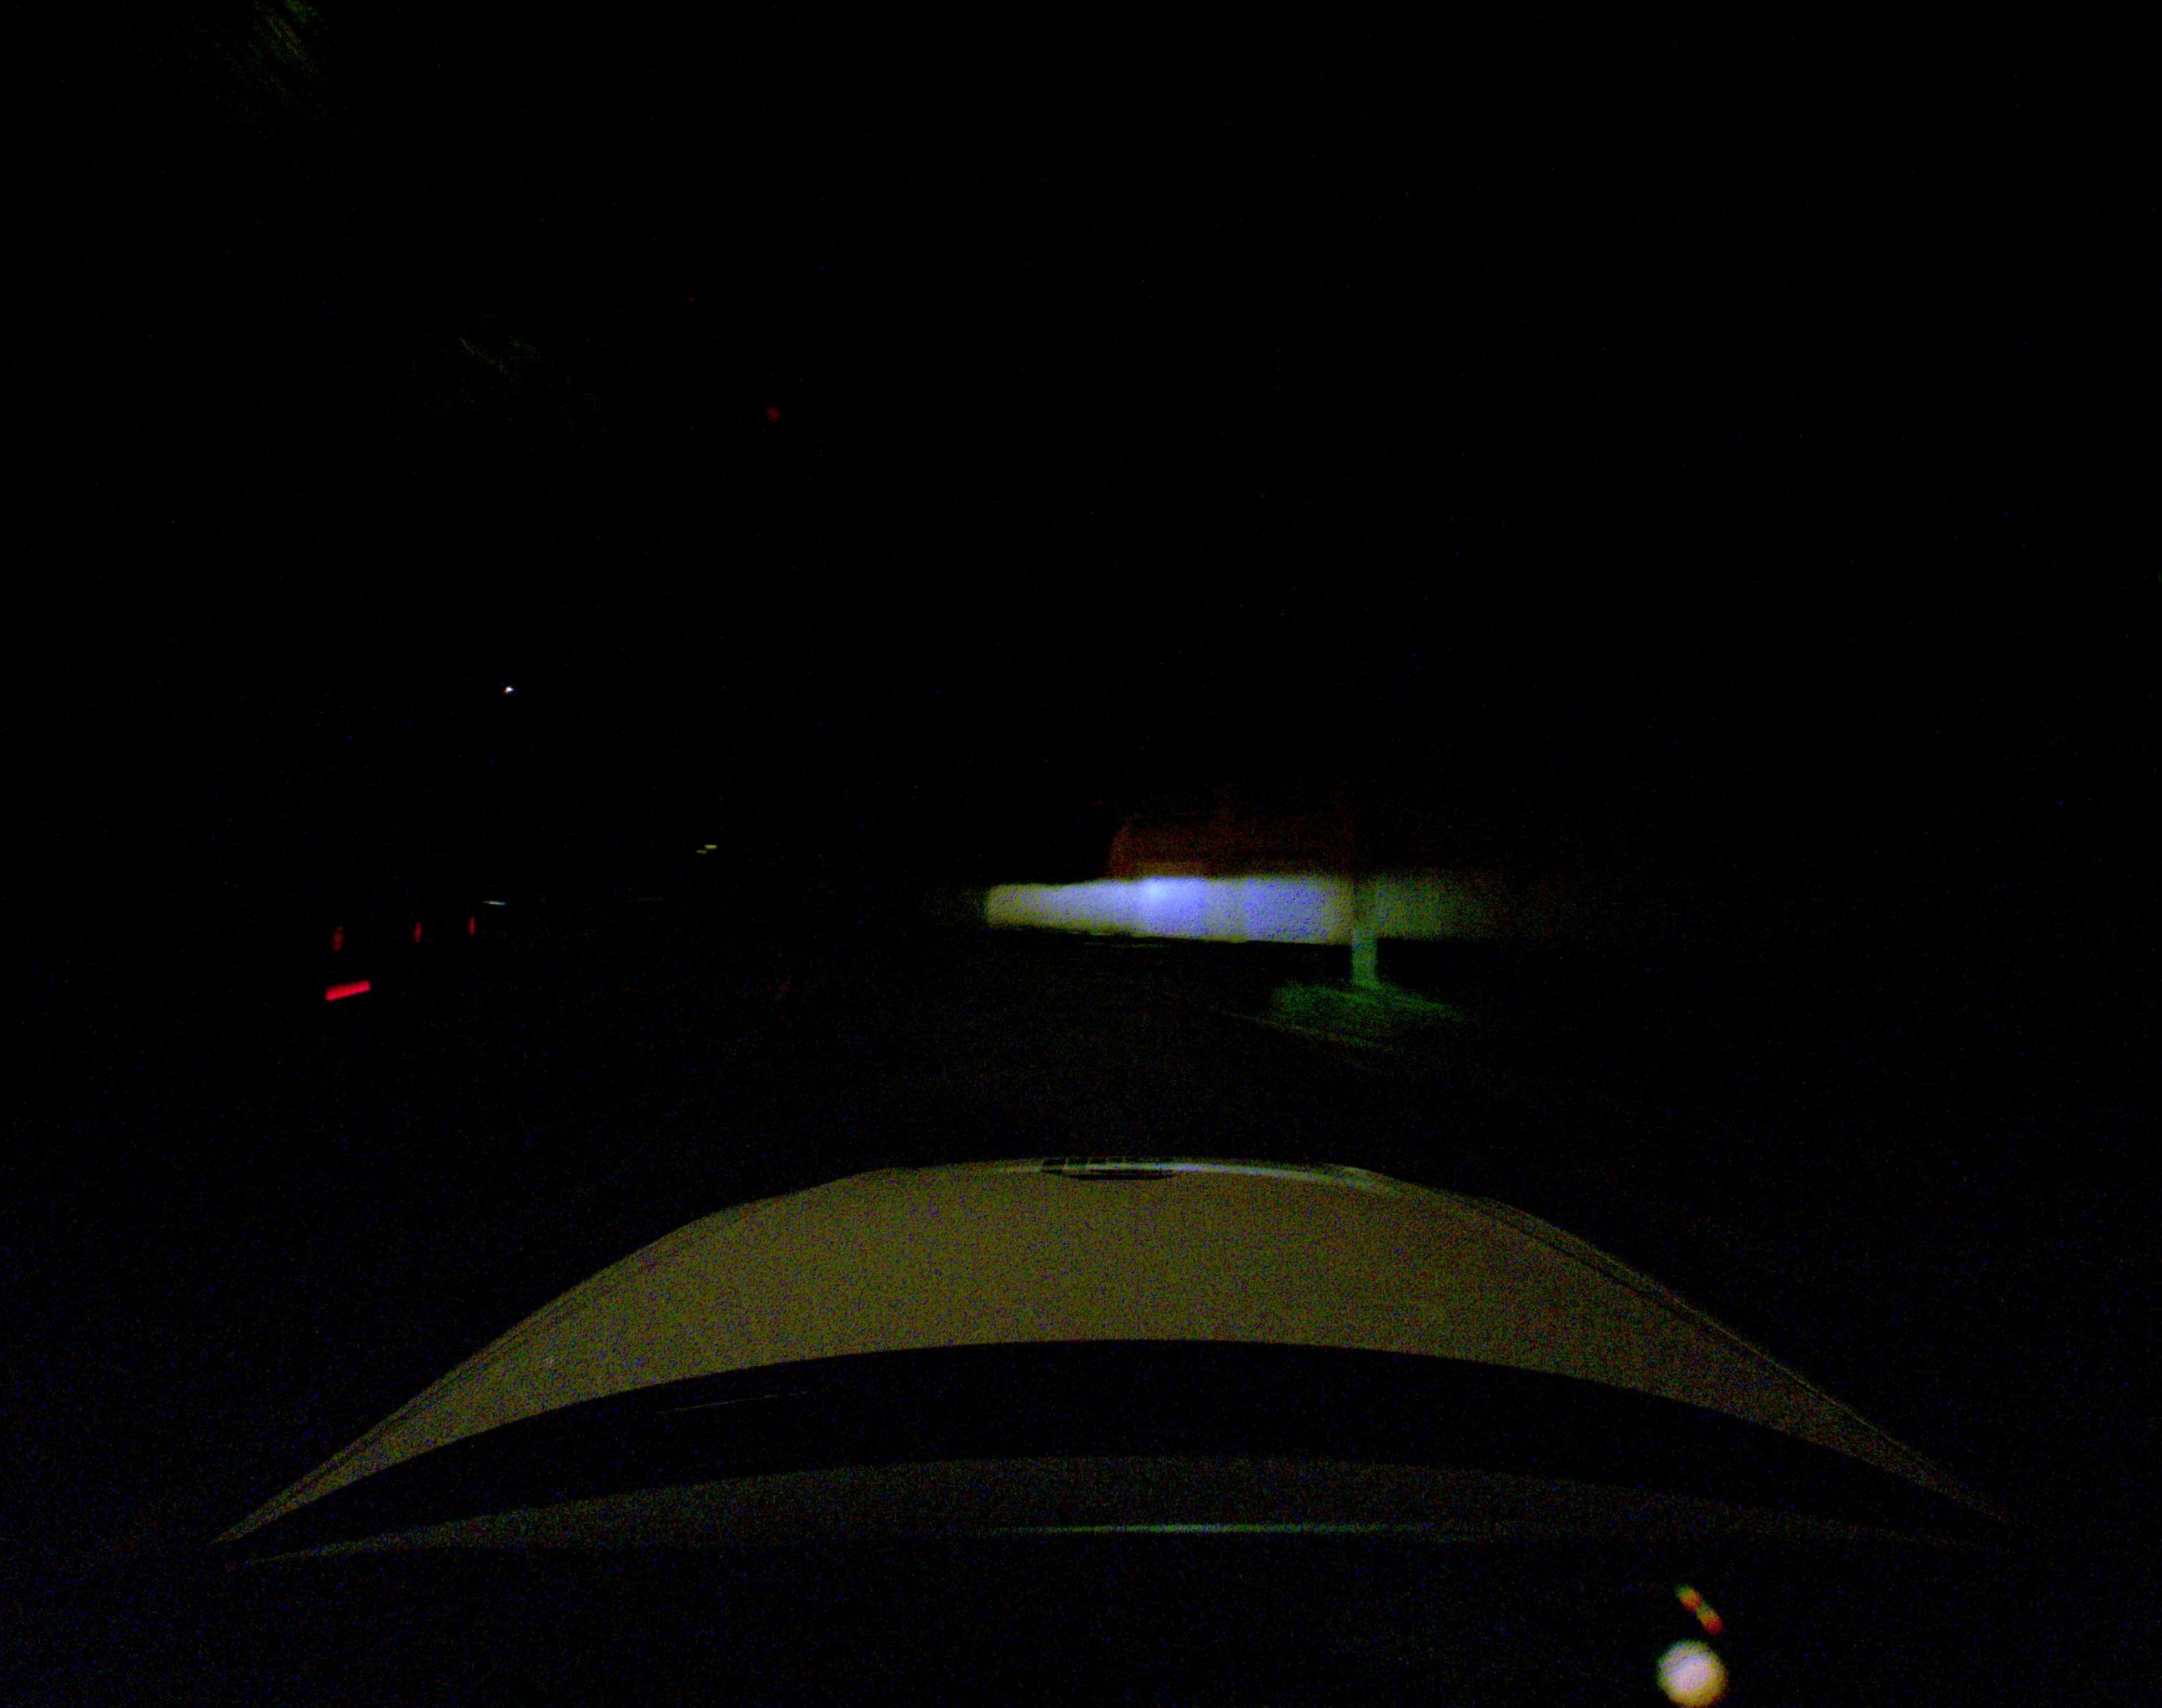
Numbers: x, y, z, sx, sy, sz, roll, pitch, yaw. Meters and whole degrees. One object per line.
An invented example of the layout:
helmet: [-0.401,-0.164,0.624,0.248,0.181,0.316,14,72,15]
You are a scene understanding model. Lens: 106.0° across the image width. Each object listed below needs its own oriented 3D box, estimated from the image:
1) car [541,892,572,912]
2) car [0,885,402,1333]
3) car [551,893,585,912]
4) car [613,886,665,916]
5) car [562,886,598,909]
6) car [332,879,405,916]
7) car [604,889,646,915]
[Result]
car: [-46.515,4.265,72.230,1.846,1.664,4.565,4,-6,-37]
car: [-4.341,0.825,2.066,1.721,1.430,4.285,0,-2,-2]
car: [-42.887,4.043,68.024,1.758,1.471,4.206,6,-7,-40]
car: [-25.697,2.730,47.307,1.769,1.594,4.673,5,-5,-38]
car: [-39.350,3.445,63.937,1.732,1.762,4.702,5,-6,-39]
car: [-29.909,1.836,34.155,1.992,1.440,3.950,5,-5,-45]
car: [-28.455,2.959,50.801,1.622,1.461,3.673,1,-2,-40]
